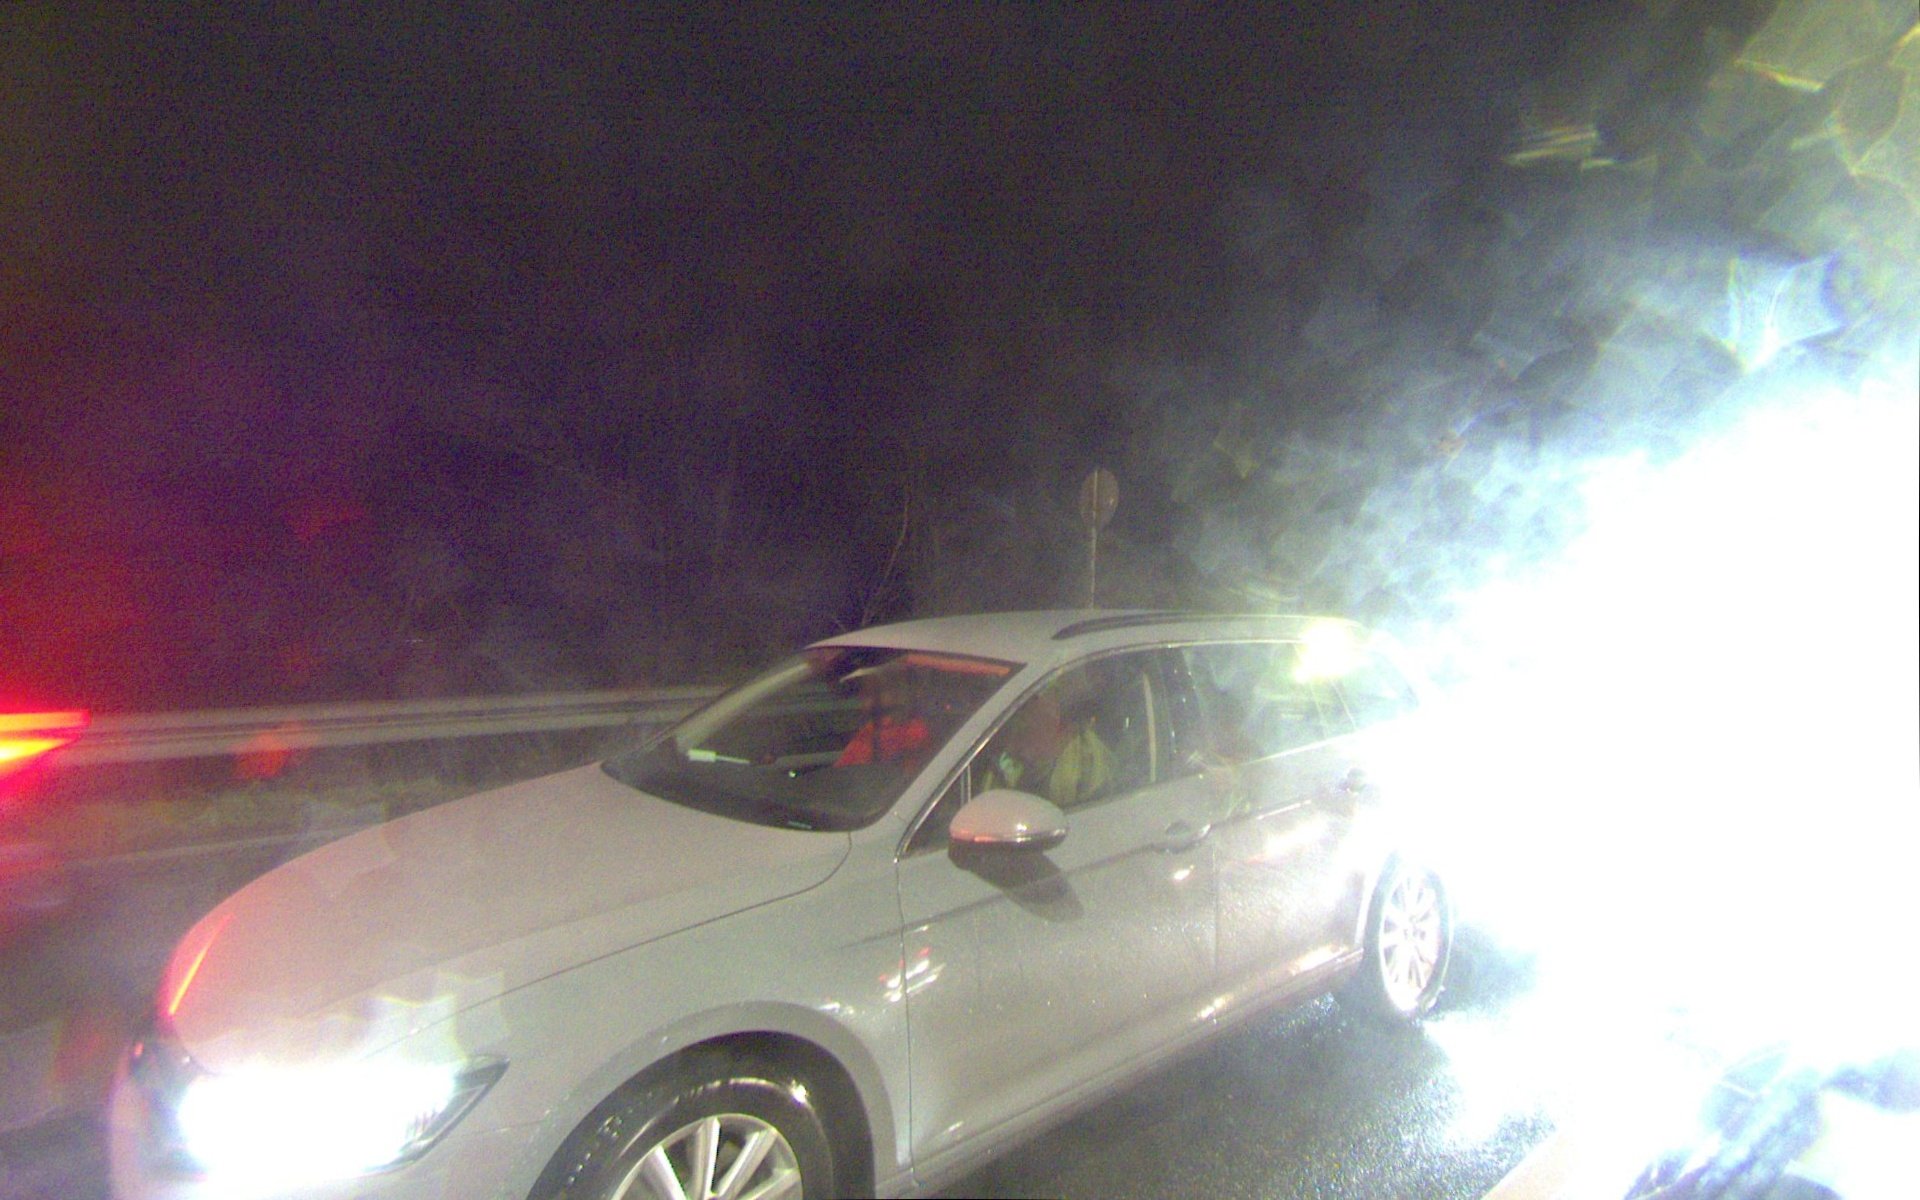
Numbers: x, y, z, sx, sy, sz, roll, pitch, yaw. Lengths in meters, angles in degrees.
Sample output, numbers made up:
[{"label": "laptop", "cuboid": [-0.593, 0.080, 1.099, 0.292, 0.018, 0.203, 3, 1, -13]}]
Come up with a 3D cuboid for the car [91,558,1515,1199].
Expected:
[{"label": "car", "cuboid": [0.029, 0.692, 3.326, 4.336, 1.541, 1.710, -1, 0, -40]}]

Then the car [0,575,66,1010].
[{"label": "car", "cuboid": [-5.457, 0.707, 2.939, 4.263, 1.500, 1.996, -1, -1, -42]}]

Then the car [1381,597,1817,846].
[{"label": "car", "cuboid": [5.150, 0.710, 7.946, 4.066, 1.435, 1.742, -1, 1, -40]}]

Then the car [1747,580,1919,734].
[{"label": "car", "cuboid": [11.540, 0.584, 12.557, 4.315, 1.618, 1.997, -1, 2, -41]}]

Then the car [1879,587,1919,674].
[{"label": "car", "cuboid": [19.843, 0.566, 19.991, 4.315, 1.618, 1.997, -1, 2, -41]}]
